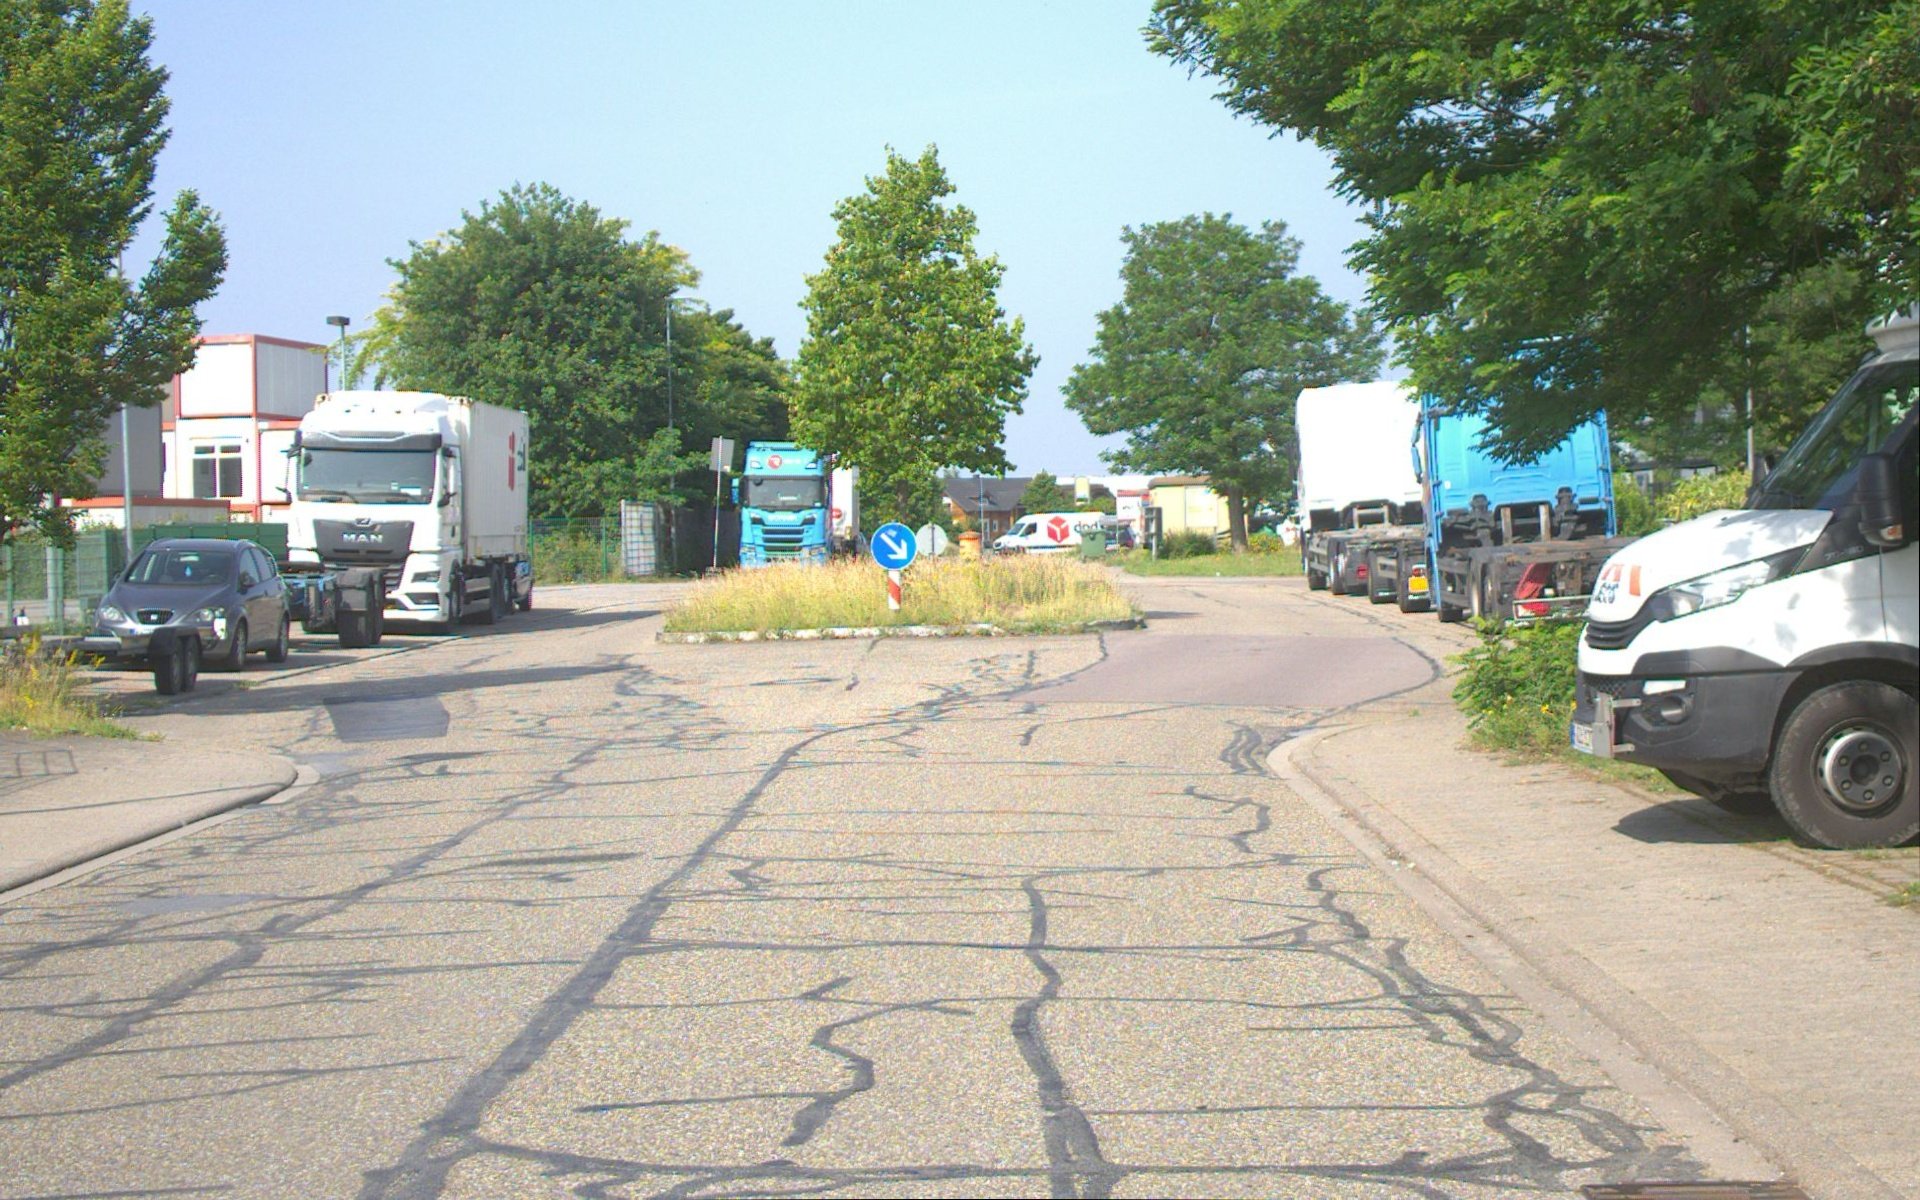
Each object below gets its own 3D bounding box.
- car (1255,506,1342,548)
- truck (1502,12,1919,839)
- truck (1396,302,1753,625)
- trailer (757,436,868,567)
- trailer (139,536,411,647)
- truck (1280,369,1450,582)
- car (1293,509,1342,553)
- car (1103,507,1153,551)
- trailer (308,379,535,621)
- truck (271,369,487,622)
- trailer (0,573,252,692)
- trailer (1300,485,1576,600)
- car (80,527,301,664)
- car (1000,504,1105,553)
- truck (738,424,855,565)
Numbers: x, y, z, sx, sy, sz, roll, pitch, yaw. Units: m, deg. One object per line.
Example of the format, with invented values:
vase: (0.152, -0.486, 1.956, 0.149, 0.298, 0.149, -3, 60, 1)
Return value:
car: (11.235, -2.428, 114.260, 1.667, 1.325, 3.664, 1, 0, -15)
truck: (6.816, -0.842, 15.497, 8.208, 3.359, 2.741, -2, 0, 0)
truck: (7.753, -1.621, 44.799, 2.888, 3.523, 9.755, -5, 0, 2)
trailer: (-4.572, -3.014, 108.838, 2.831, 3.829, 12.036, 1, 0, 1)
trailer: (-9.647, -0.162, 48.916, 2.681, 1.448, 5.077, 0, 1, 2)
truck: (8.043, -2.454, 68.738, 2.746, 3.968, 4.000, -4, 1, 1)
car: (13.679, -2.618, 131.802, 1.717, 1.612, 3.999, 1, 0, 4)
car: (6.835, -2.879, 140.132, 1.792, 1.744, 4.000, 1, 0, 0)
trailer: (-9.265, -1.649, 59.922, 2.699, 3.908, 7.575, 1, 0, 0)
truck: (-9.318, -1.635, 55.562, 2.709, 3.908, 4.297, 1, 0, 0)
trailer: (-9.379, 0.283, 36.015, 2.547, 0.922, 6.710, 2, 1, 0)
trailer: (7.979, -1.032, 59.702, 2.746, 1.568, 16.172, -3, 1, 1)
car: (-9.501, -0.099, 42.754, 1.696, 1.556, 4.336, 1, 1, 1)
car: (5.394, -4.159, 200.300, 5.767, 2.724, 2.001, 1, 0, -11)
truck: (-4.684, -2.977, 100.073, 2.825, 3.812, 9.673, 1, 0, 1)
